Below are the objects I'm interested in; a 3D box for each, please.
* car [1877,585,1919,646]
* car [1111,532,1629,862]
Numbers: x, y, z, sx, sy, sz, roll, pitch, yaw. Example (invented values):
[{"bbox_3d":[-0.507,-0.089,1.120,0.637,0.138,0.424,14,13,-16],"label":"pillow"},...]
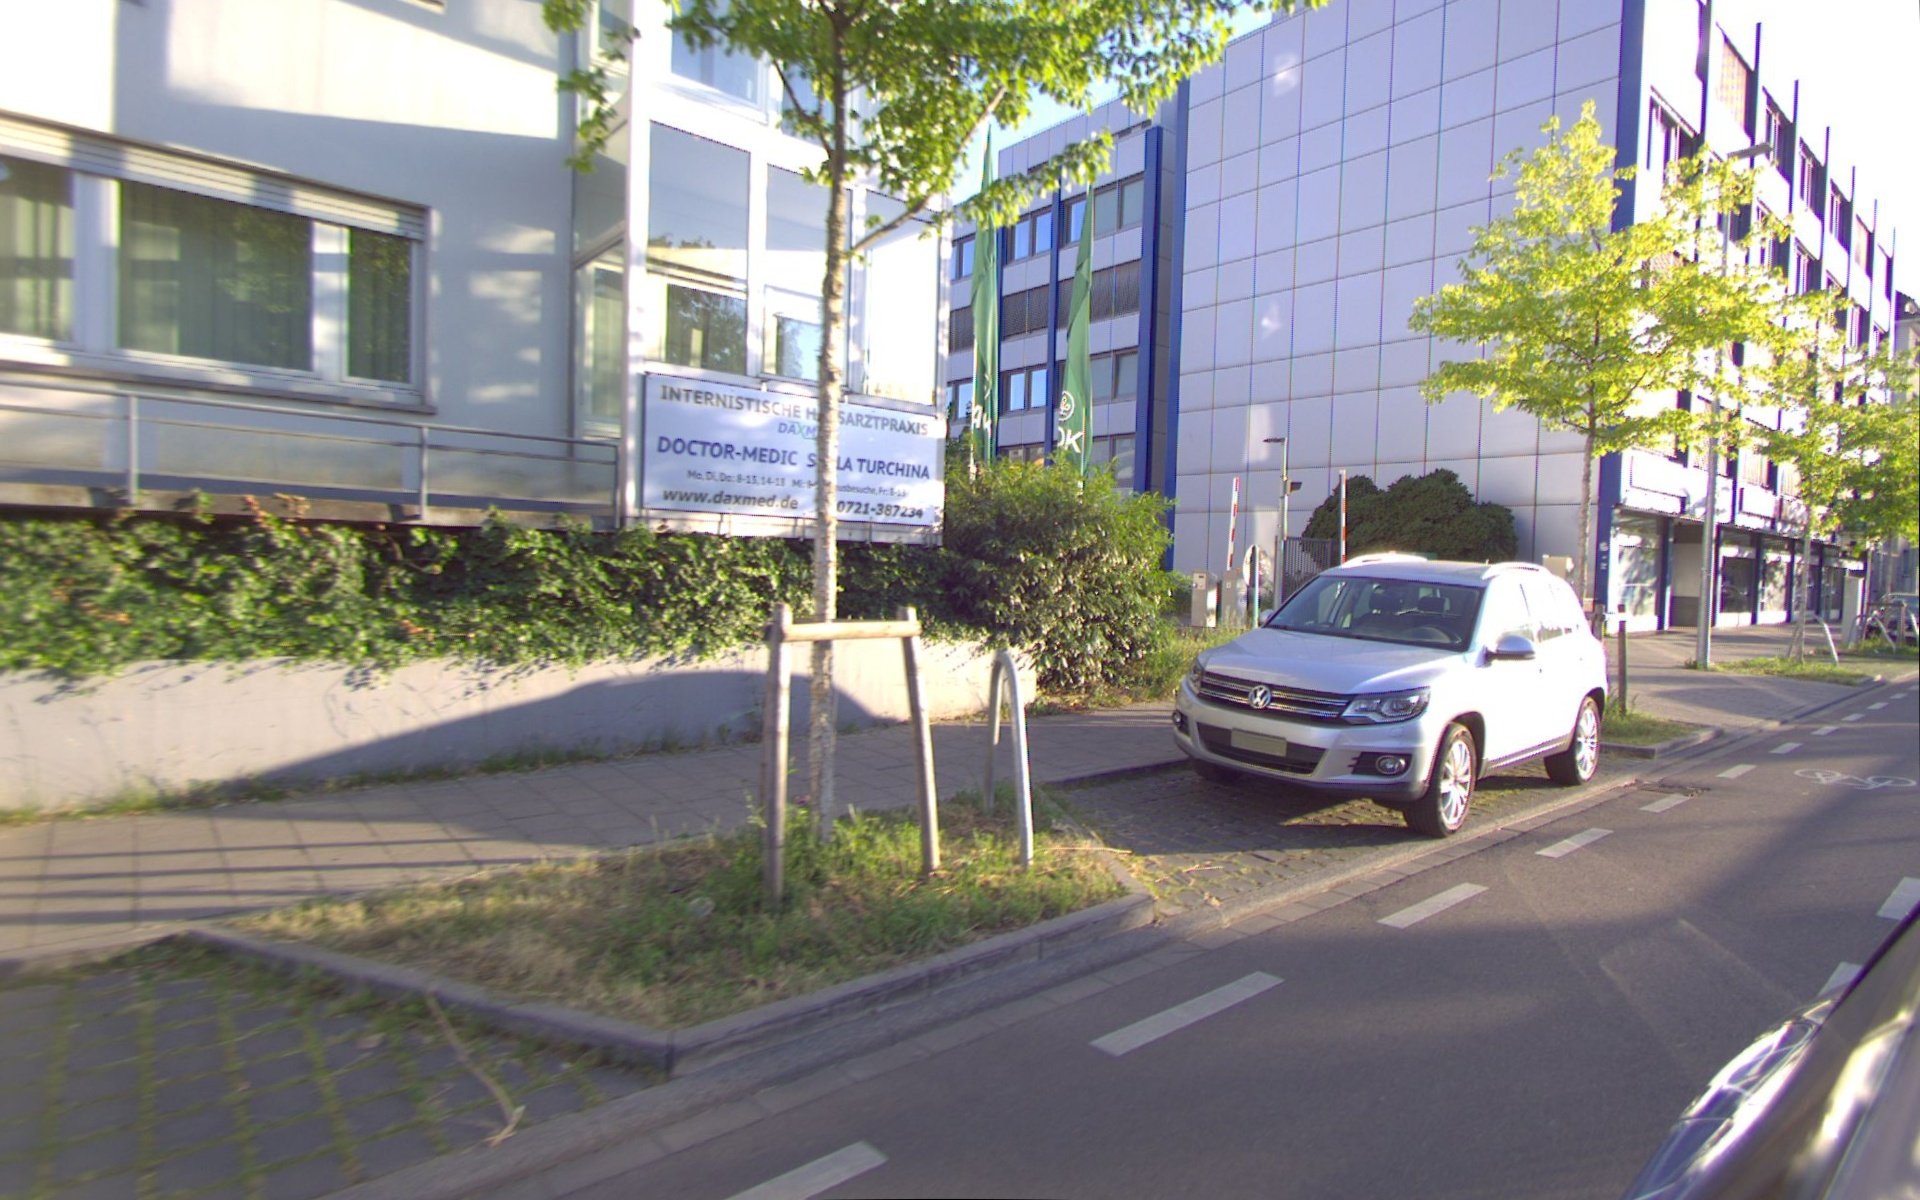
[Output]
[{"bbox_3d":[25.162,0.380,26.195,4.061,1.472,1.821,-1,4,-44],"label":"car"},{"bbox_3d":[3.175,0.466,7.389,4.181,1.728,1.857,0,2,-42],"label":"car"}]
